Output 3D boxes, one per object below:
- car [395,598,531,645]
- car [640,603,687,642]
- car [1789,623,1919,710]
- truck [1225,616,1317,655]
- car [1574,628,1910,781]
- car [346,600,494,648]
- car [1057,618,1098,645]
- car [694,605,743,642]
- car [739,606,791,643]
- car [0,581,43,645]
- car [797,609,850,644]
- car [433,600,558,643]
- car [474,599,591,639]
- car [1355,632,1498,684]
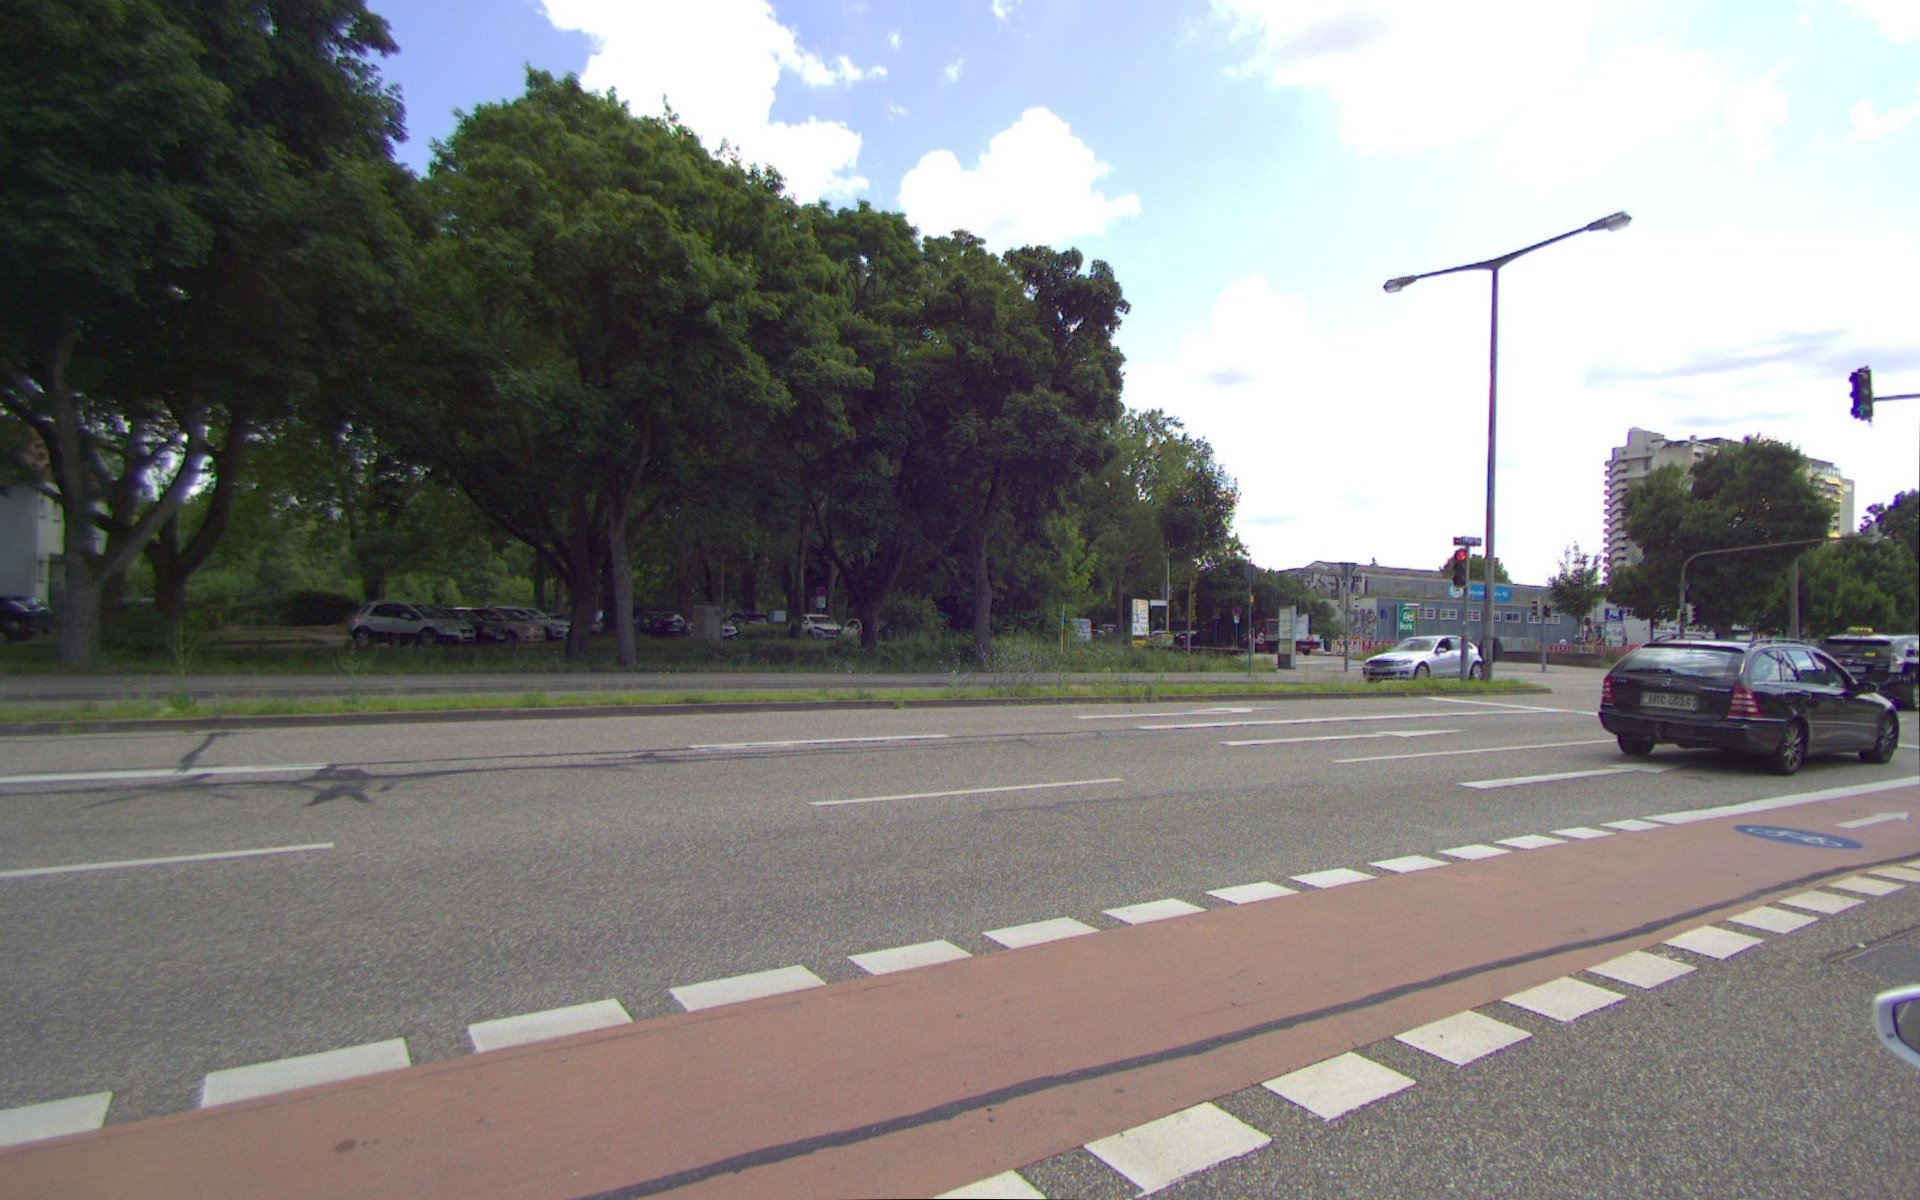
[{"bbox_3d":[-18.106,0.788,36.679,3.941,1.608,2.001,1,-1,6],"label":"car"},{"bbox_3d":[-14.300,1.071,48.348,1.793,1.750,4.107,2,-1,-22],"label":"car"},{"bbox_3d":[20.409,1.447,22.149,4.287,1.690,1.778,2,0,-28],"label":"car"},{"bbox_3d":[21.141,2.379,68.773,2.986,2.471,6.971,1,-1,-12],"label":"truck"},{"bbox_3d":[9.442,1.156,12.036,4.384,1.485,1.745,3,-1,-32],"label":"car"},{"bbox_3d":[-18.254,0.814,34.047,3.941,1.503,2.001,1,-1,6],"label":"car"},{"bbox_3d":[8.612,2.309,73.768,1.904,1.817,3.611,2,0,-12],"label":"car"},{"bbox_3d":[-12.052,1.174,50.040,1.793,1.732,4.107,2,-1,-22],"label":"car"},{"bbox_3d":[-9.923,1.231,50.882,2.014,1.748,4.559,2,-2,-18],"label":"car"},{"bbox_3d":[-26.875,0.286,26.157,4.331,1.679,1.790,3,-1,-42],"label":"car"},{"bbox_3d":[-7.251,1.386,53.166,2.044,1.748,4.111,2,-2,-19],"label":"car"},{"bbox_3d":[-18.025,0.863,39.112,3.941,1.608,2.001,0,-2,6],"label":"car"},{"bbox_3d":[-17.653,0.797,41.594,3.941,1.565,2.001,1,-1,6],"label":"car"},{"bbox_3d":[14.114,1.738,30.293,4.446,1.451,1.790,2,-2,-32],"label":"car"}]
